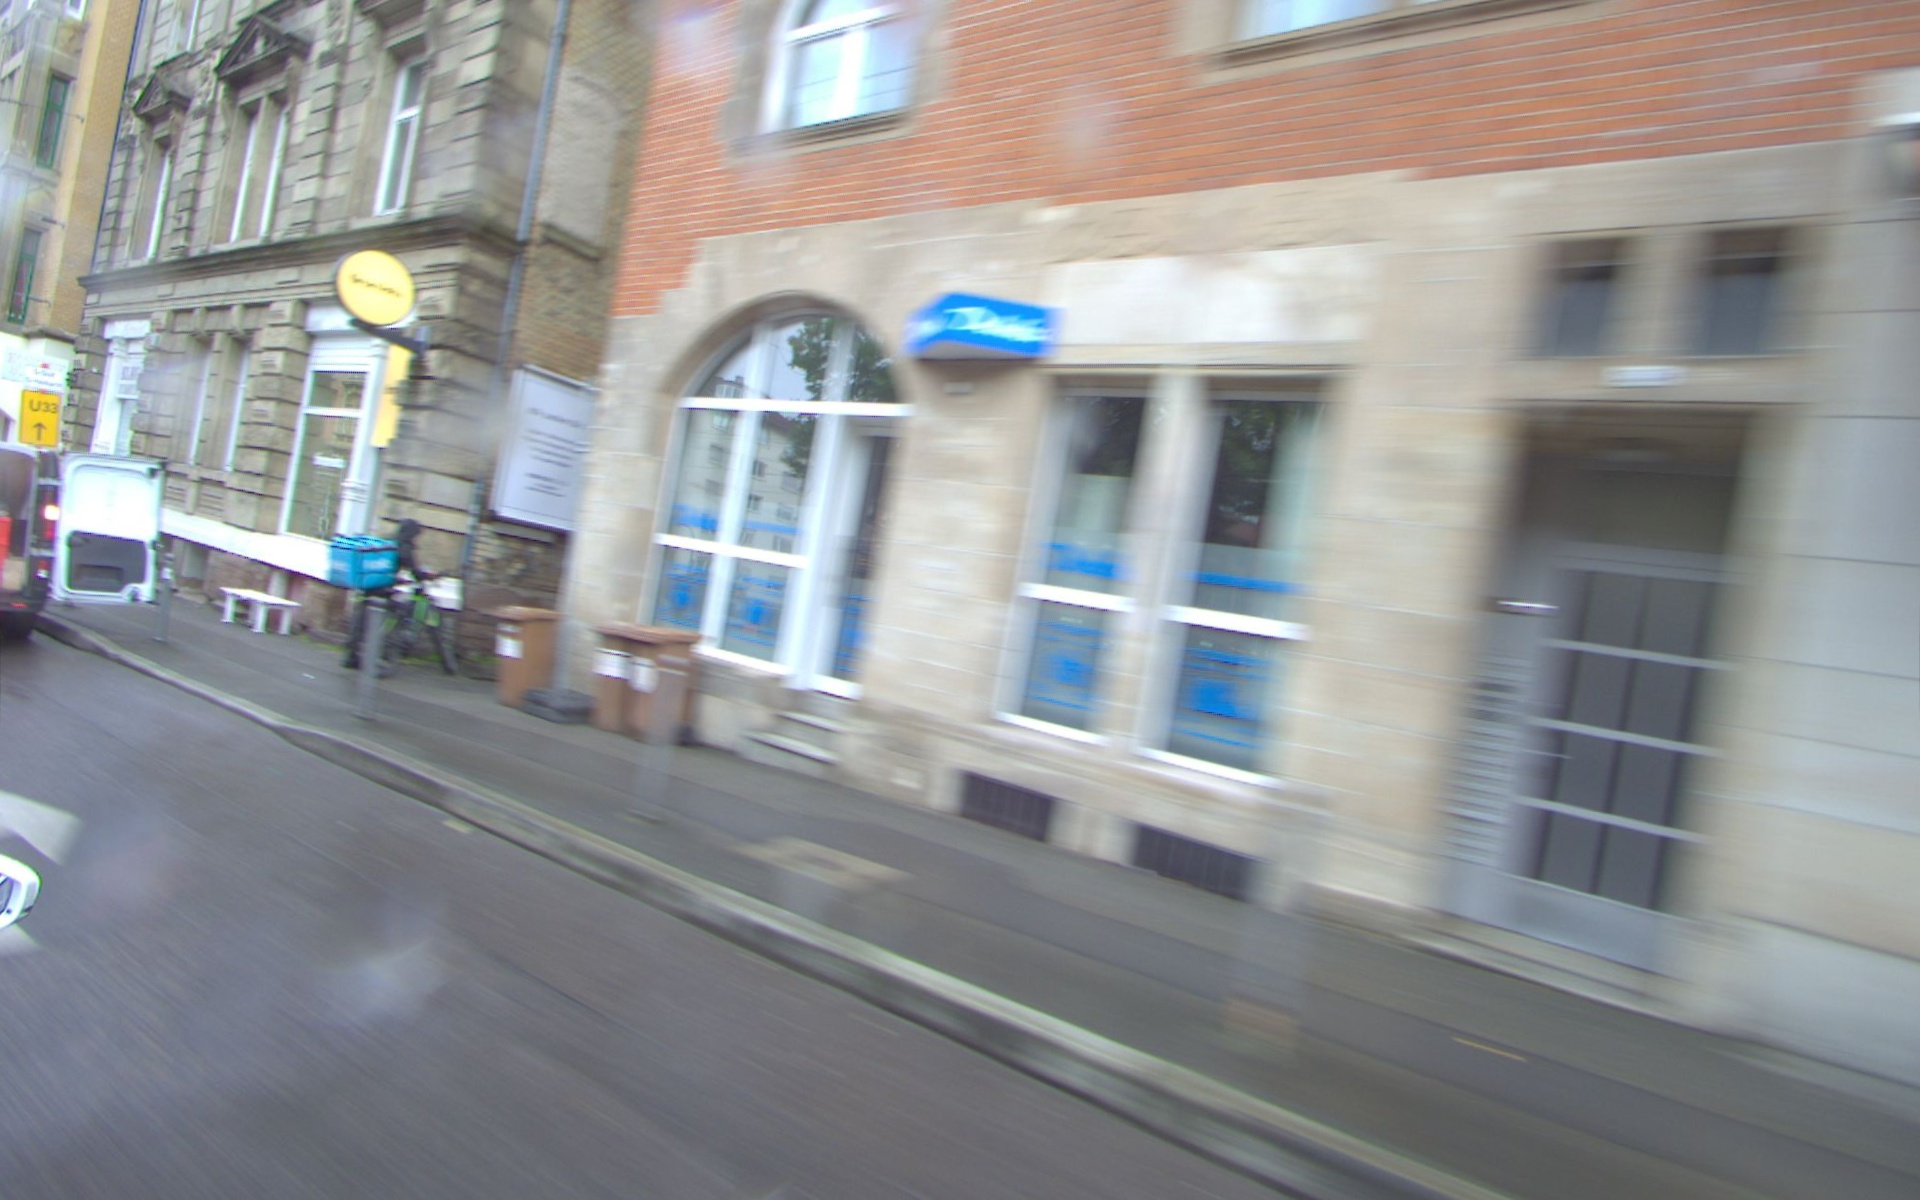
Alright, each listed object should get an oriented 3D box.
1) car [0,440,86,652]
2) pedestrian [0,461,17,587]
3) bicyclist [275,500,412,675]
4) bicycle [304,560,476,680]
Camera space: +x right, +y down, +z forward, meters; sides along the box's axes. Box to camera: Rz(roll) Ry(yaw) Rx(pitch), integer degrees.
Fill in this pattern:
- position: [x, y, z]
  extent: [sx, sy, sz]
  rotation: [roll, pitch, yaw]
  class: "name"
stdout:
- position: [-11.187, -0.800, 10.563]
  extent: [4.613, 1.957, 1.923]
  rotation: [7, -3, 37]
  class: "car"
- position: [-9.155, -0.431, 8.982]
  extent: [0.679, 1.774, 0.831]
  rotation: [8, -1, -26]
  class: "pedestrian"
- position: [-6.372, -0.103, 10.436]
  extent: [0.619, 1.676, 0.851]
  rotation: [7, -1, 13]
  class: "bicyclist"
- position: [-5.964, 0.242, 10.647]
  extent: [0.456, 1.128, 1.691]
  rotation: [7, -1, 12]
  class: "bicycle"
